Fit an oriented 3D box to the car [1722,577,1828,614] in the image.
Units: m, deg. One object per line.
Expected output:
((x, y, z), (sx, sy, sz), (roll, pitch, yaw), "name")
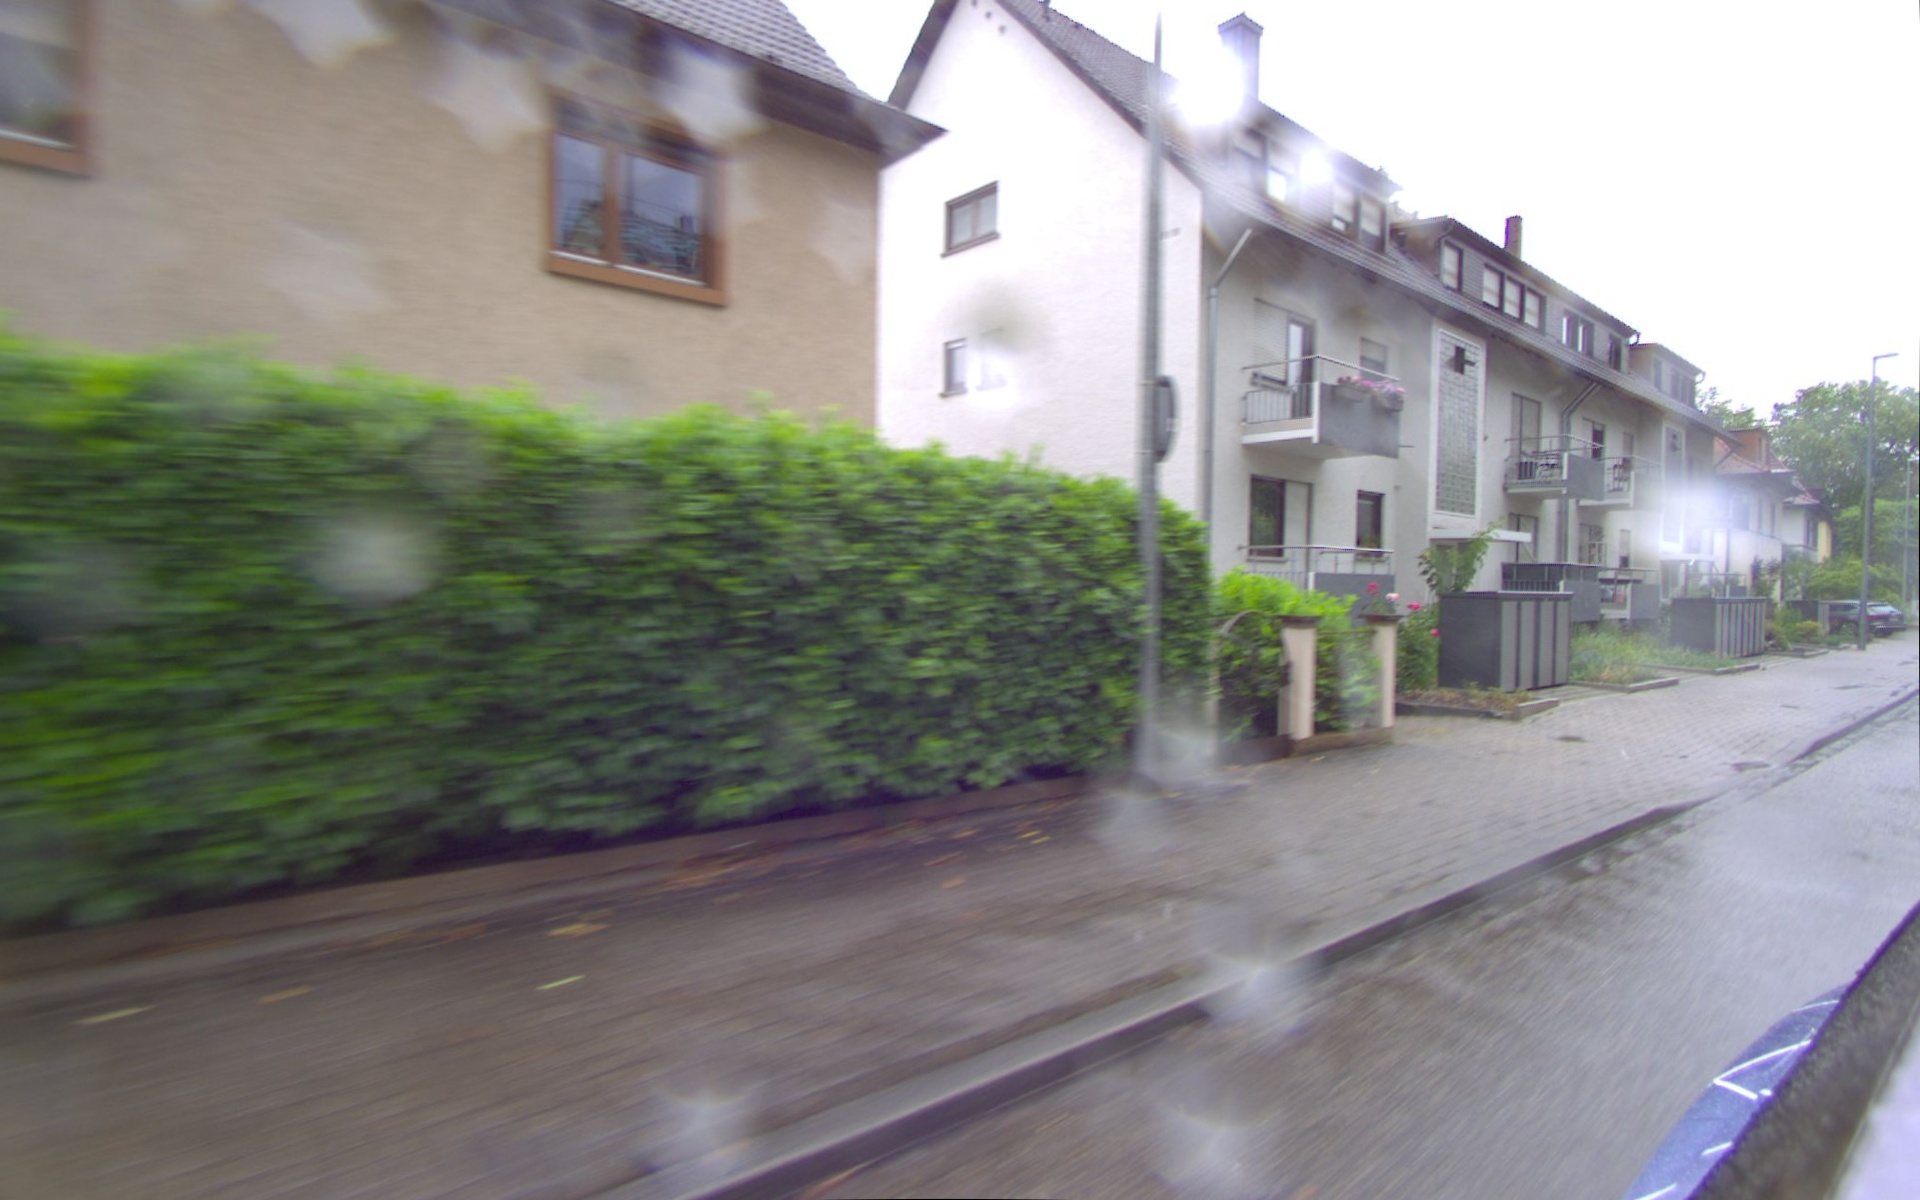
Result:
((43.057, -0.224, 53.510), (1.789, 1.601, 3.991), (0, -5, -41), "car")

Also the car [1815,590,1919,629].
((37.484, 0.360, 41.098), (1.735, 1.475, 4.007), (1, 1, -10), "car")

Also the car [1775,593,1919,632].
((35.239, 0.463, 40.125), (1.880, 1.381, 4.390), (-1, 1, -10), "car")
